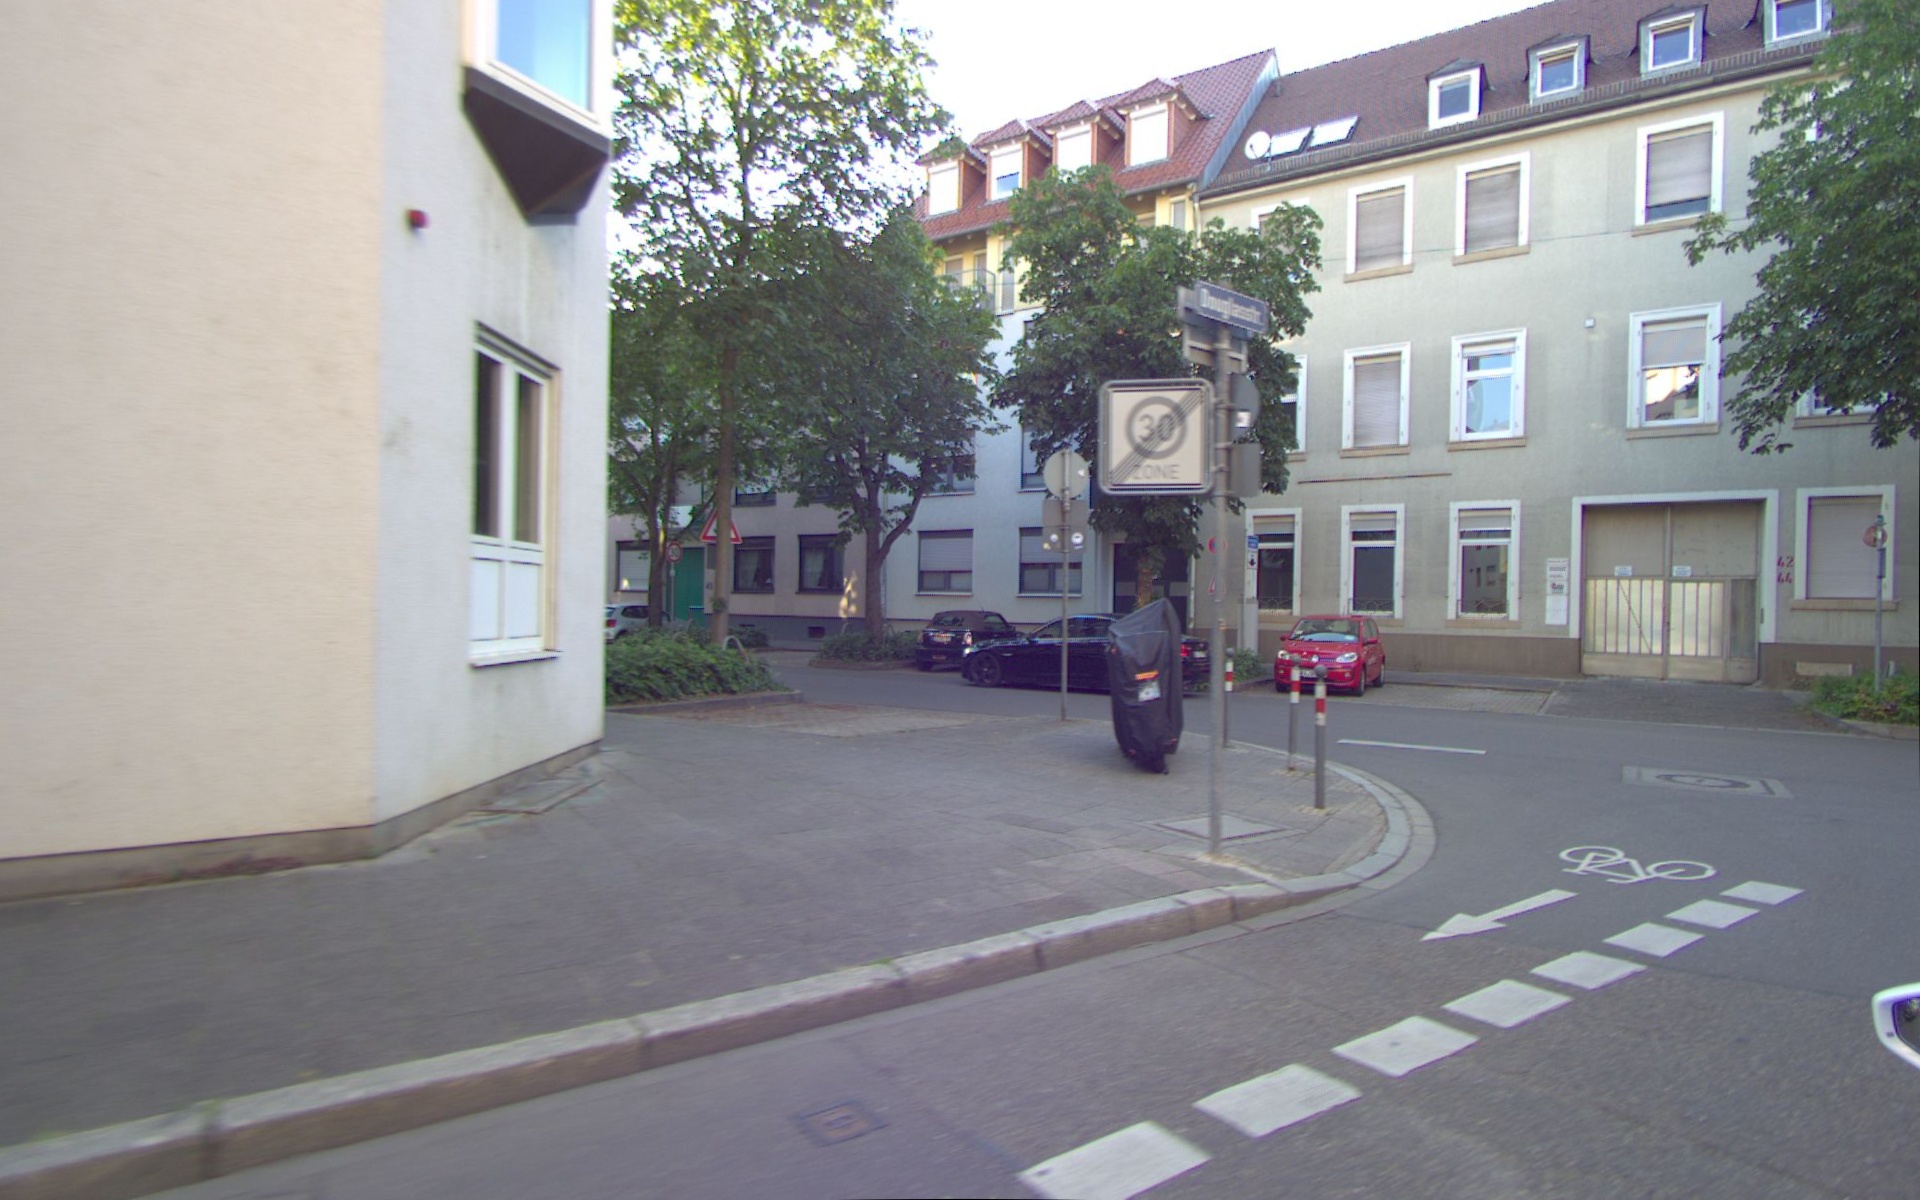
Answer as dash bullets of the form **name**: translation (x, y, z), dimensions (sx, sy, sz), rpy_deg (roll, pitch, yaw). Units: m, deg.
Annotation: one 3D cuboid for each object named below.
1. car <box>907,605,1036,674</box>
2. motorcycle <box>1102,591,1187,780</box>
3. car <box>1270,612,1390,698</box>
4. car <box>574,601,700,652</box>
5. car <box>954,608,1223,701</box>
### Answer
- **car**: translation (0.359, 0.905, 24.656), dimensions (1.598, 1.447, 3.708), rpy_deg (1, 2, 29)
- **motorcycle**: translation (1.795, 0.729, 9.542), dimensions (0.656, 1.576, 2.163), rpy_deg (1, 0, 14)
- **car**: translation (7.412, 1.012, 19.923), dimensions (1.538, 1.495, 3.659), rpy_deg (1, 0, 32)
- **car**: translation (-10.148, 0.791, 31.778), dimensions (1.538, 1.499, 3.660), rpy_deg (1, 0, 32)
- **car**: translation (2.299, 0.924, 18.453), dimensions (4.586, 1.469, 1.764), rpy_deg (1, 0, 31)
